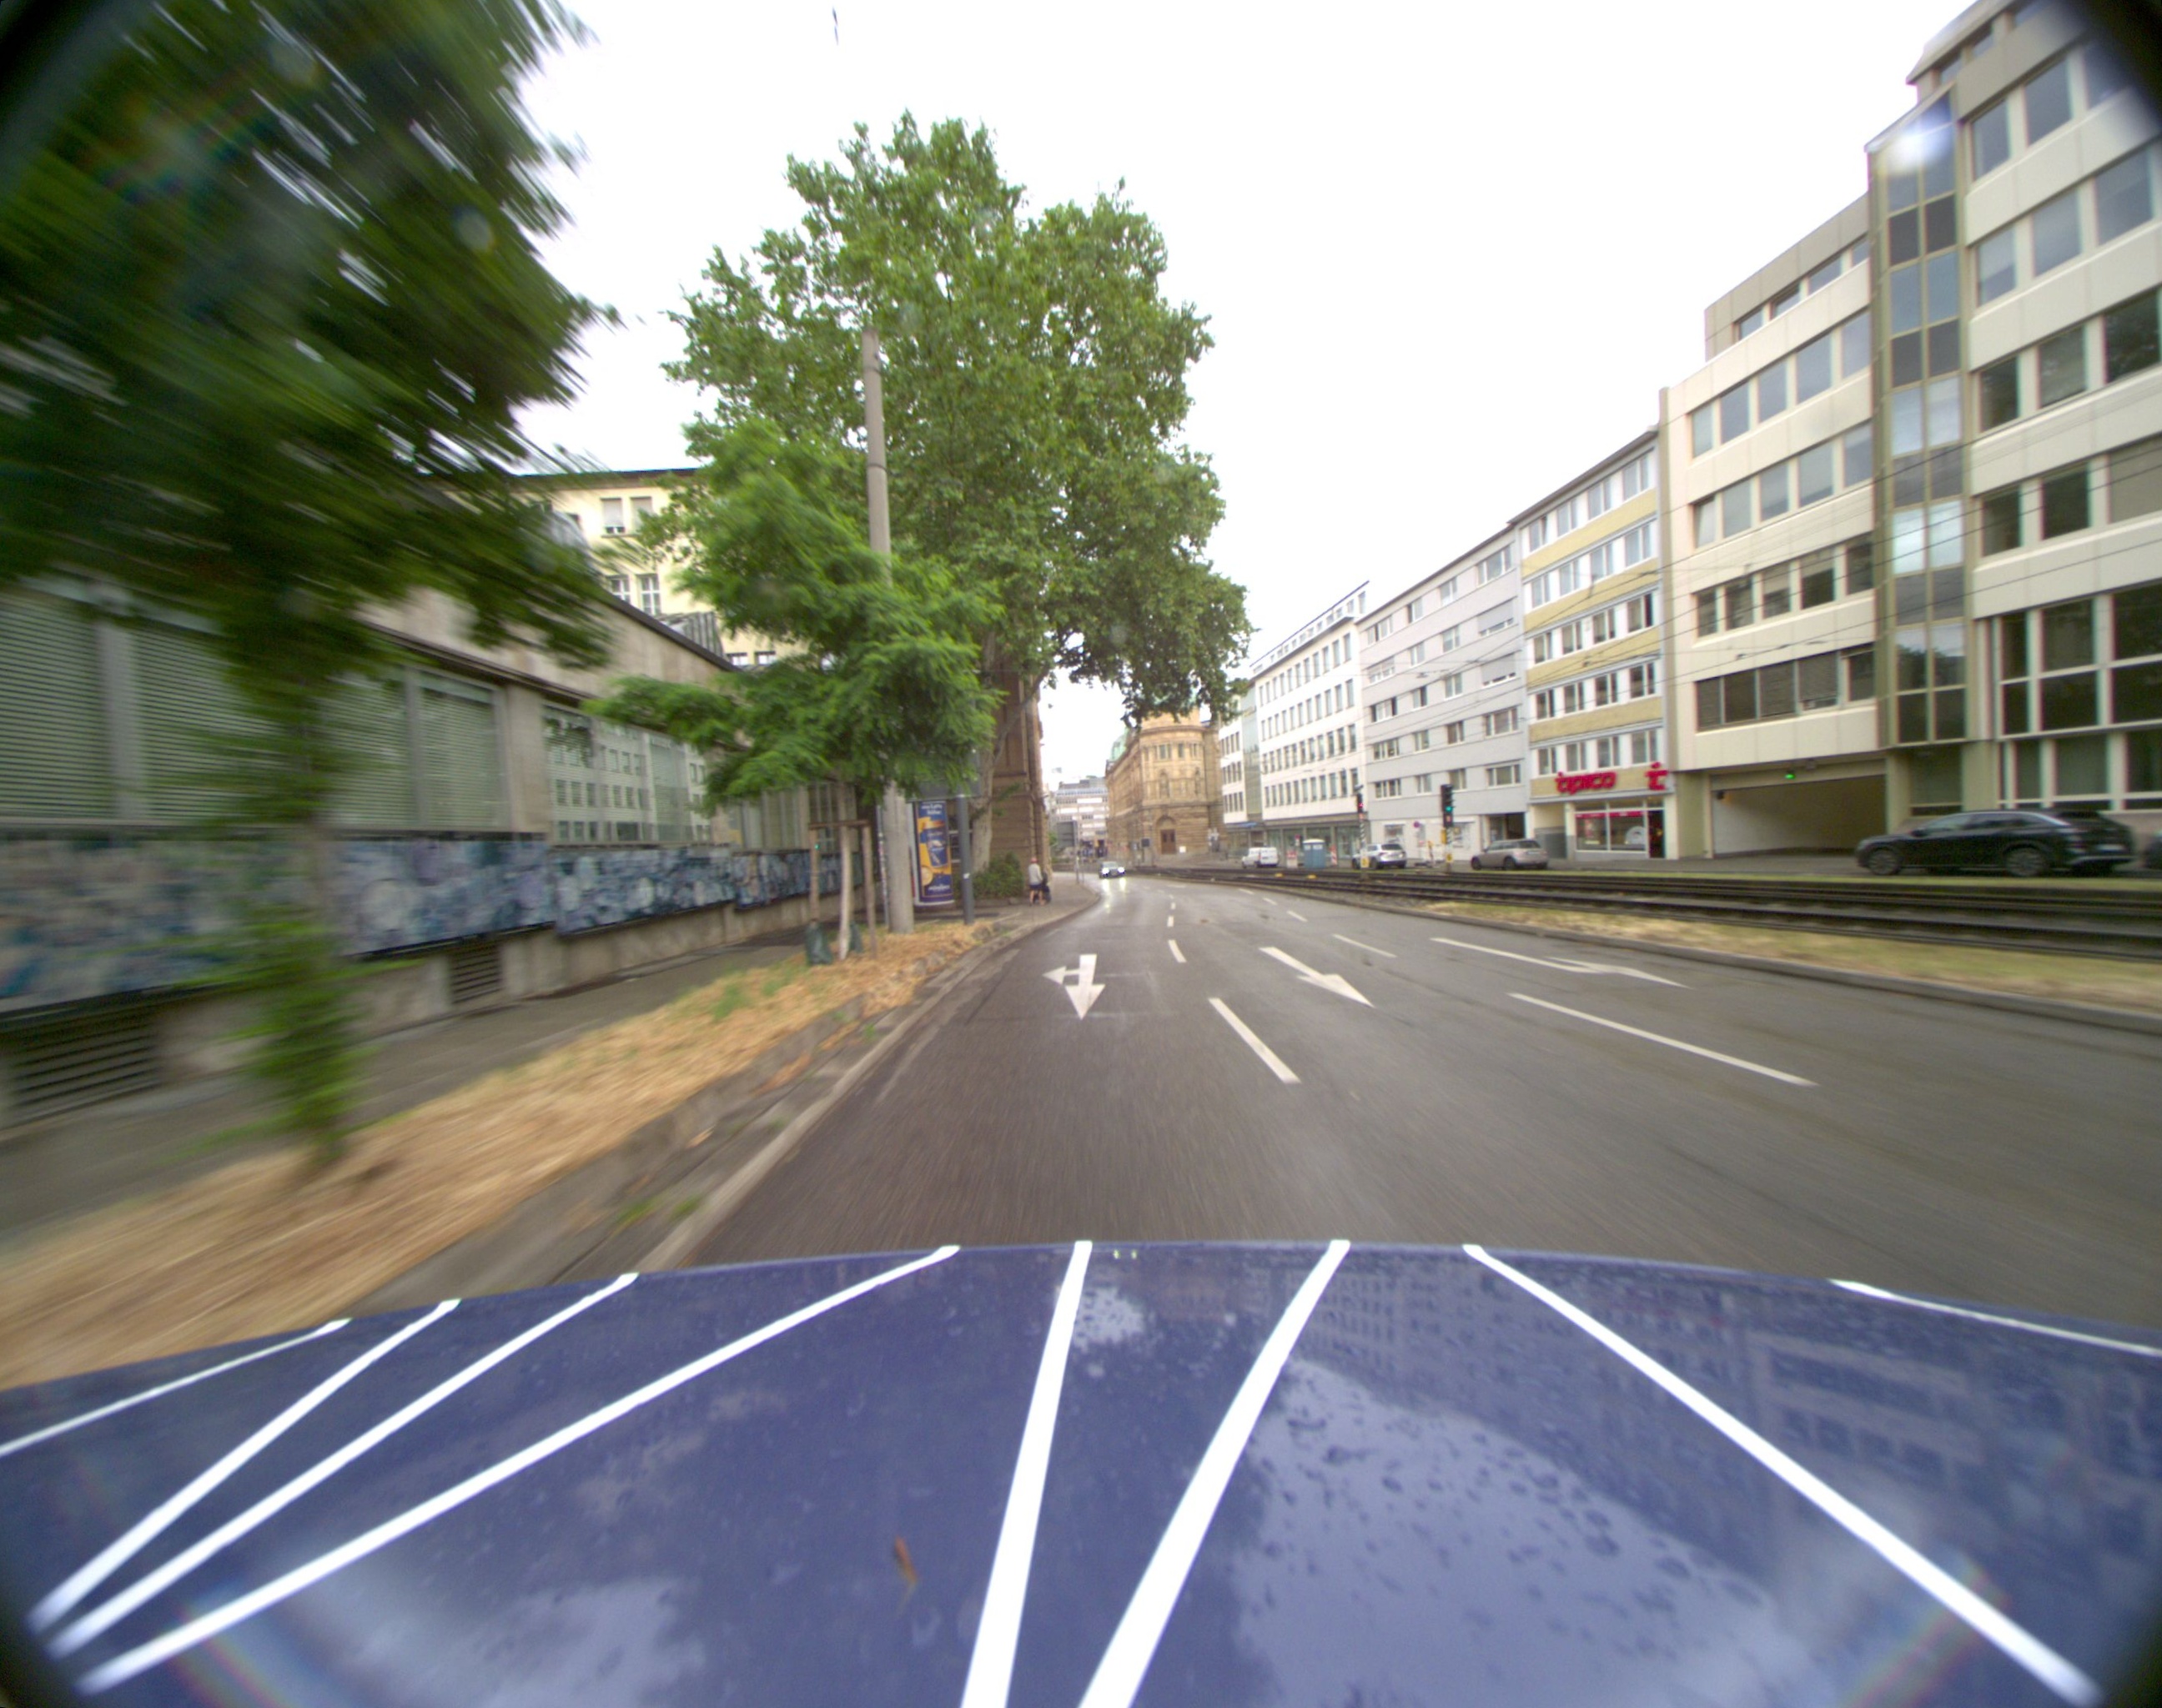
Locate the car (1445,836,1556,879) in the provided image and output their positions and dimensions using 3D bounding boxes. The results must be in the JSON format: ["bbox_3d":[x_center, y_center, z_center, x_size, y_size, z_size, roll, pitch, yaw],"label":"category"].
[{"bbox_3d":[19.228,0.109,35.090,1.999,1.664,4.691,-5,1,-7],"label":"car"}]

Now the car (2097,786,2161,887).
[{"bbox_3d":[21.480,-0.372,12.874,1.999,1.840,4.691,-5,1,-7],"label":"car"}]

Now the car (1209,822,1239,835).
[{"bbox_3d":[19.557,-3.459,103.678,4.333,1.390,1.780,-7,2,-44],"label":"car"}]

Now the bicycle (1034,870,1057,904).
[{"bbox_3d":[-1.355,1.241,28.893,0.620,1.213,0.911,-2,0,12],"label":"bicycle"}]

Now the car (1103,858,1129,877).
[{"bbox_3d":[3.196,1.219,69.670,1.999,1.458,4.642,-5,0,-1],"label":"car"}]

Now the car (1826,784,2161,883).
[{"bbox_3d":[21.045,-0.455,17.897,1.999,1.840,4.691,-5,1,-7],"label":"car"}]

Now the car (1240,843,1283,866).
[{"bbox_3d":[16.365,0.046,69.131,1.999,1.832,5.127,-5,1,-7],"label":"car"}]

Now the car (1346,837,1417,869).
[{"bbox_3d":[18.278,0.001,46.483,1.999,1.664,4.694,-6,0,-5],"label":"car"}]

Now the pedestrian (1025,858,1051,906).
[{"bbox_3d":[-1.574,1.010,27.910,0.719,1.732,1.020,-1,0,11],"label":"pedestrian"}]
